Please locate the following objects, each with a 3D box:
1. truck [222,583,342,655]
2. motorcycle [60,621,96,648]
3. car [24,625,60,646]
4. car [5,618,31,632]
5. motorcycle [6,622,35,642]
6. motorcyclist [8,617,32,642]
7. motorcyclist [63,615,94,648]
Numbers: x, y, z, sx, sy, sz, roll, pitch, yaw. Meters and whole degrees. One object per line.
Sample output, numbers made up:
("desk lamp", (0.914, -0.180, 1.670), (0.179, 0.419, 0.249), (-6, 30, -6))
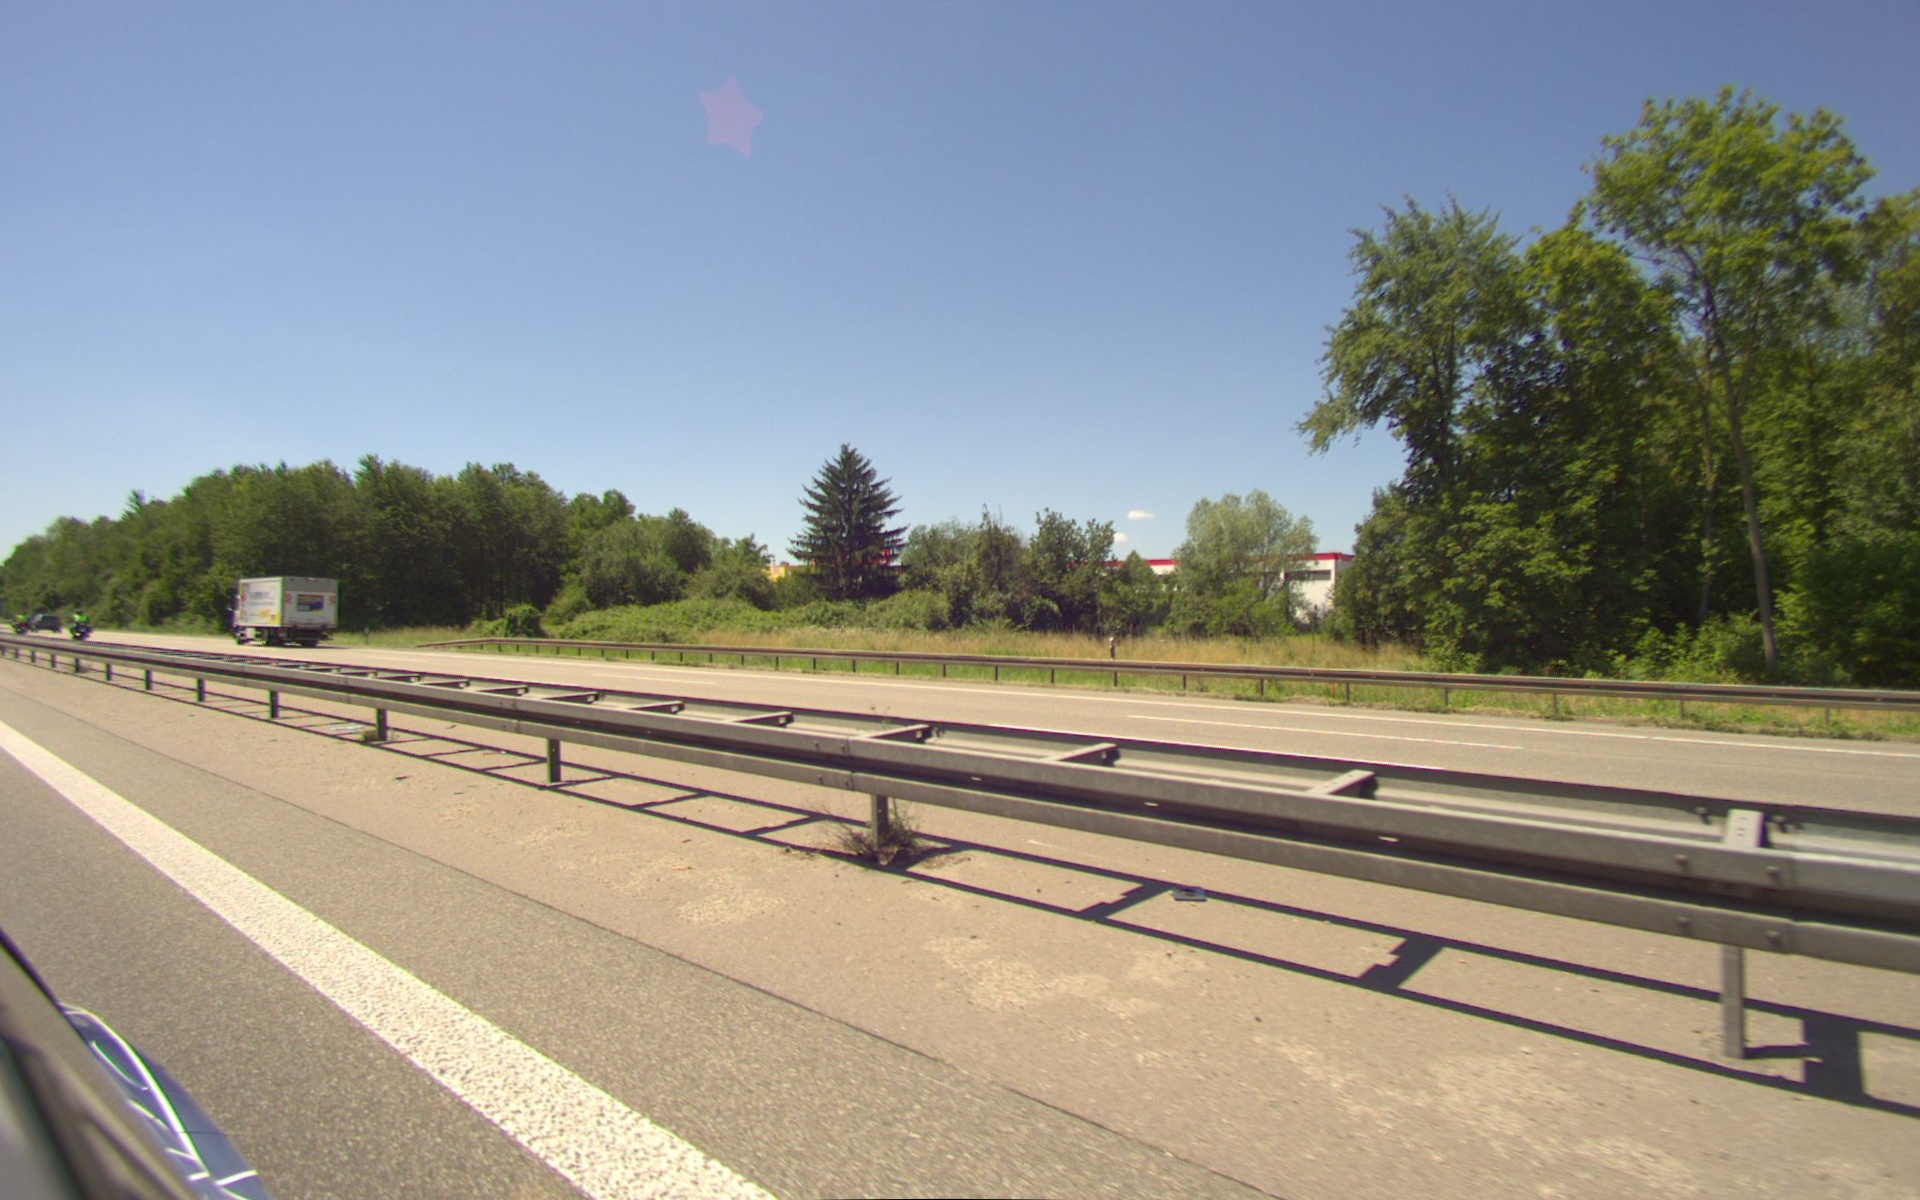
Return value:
("truck", (-37.505, 1.002, 55.775), (10.265, 3.646, 2.963), (-1, 0, 41))
("motorcycle", (-44.670, 1.736, 51.248), (2.576, 1.277, 1.024), (-1, 0, 41))
("car", (-80.378, 3.093, 88.594), (4.184, 1.685, 1.826), (-1, -3, 41))
("car", (-114.895, 3.006, 123.419), (3.998, 1.673, 1.843), (-1, 0, 41))
("motorcycle", (-61.884, 2.112, 66.616), (3.809, 1.247, 1.024), (-1, 0, 41))
("motorcyclist", (-61.856, 1.917, 66.612), (1.151, 1.611, 1.030), (-1, 0, 41))
("motorcyclist", (-44.605, 1.569, 51.230), (1.151, 1.611, 1.030), (-1, 0, 41))
